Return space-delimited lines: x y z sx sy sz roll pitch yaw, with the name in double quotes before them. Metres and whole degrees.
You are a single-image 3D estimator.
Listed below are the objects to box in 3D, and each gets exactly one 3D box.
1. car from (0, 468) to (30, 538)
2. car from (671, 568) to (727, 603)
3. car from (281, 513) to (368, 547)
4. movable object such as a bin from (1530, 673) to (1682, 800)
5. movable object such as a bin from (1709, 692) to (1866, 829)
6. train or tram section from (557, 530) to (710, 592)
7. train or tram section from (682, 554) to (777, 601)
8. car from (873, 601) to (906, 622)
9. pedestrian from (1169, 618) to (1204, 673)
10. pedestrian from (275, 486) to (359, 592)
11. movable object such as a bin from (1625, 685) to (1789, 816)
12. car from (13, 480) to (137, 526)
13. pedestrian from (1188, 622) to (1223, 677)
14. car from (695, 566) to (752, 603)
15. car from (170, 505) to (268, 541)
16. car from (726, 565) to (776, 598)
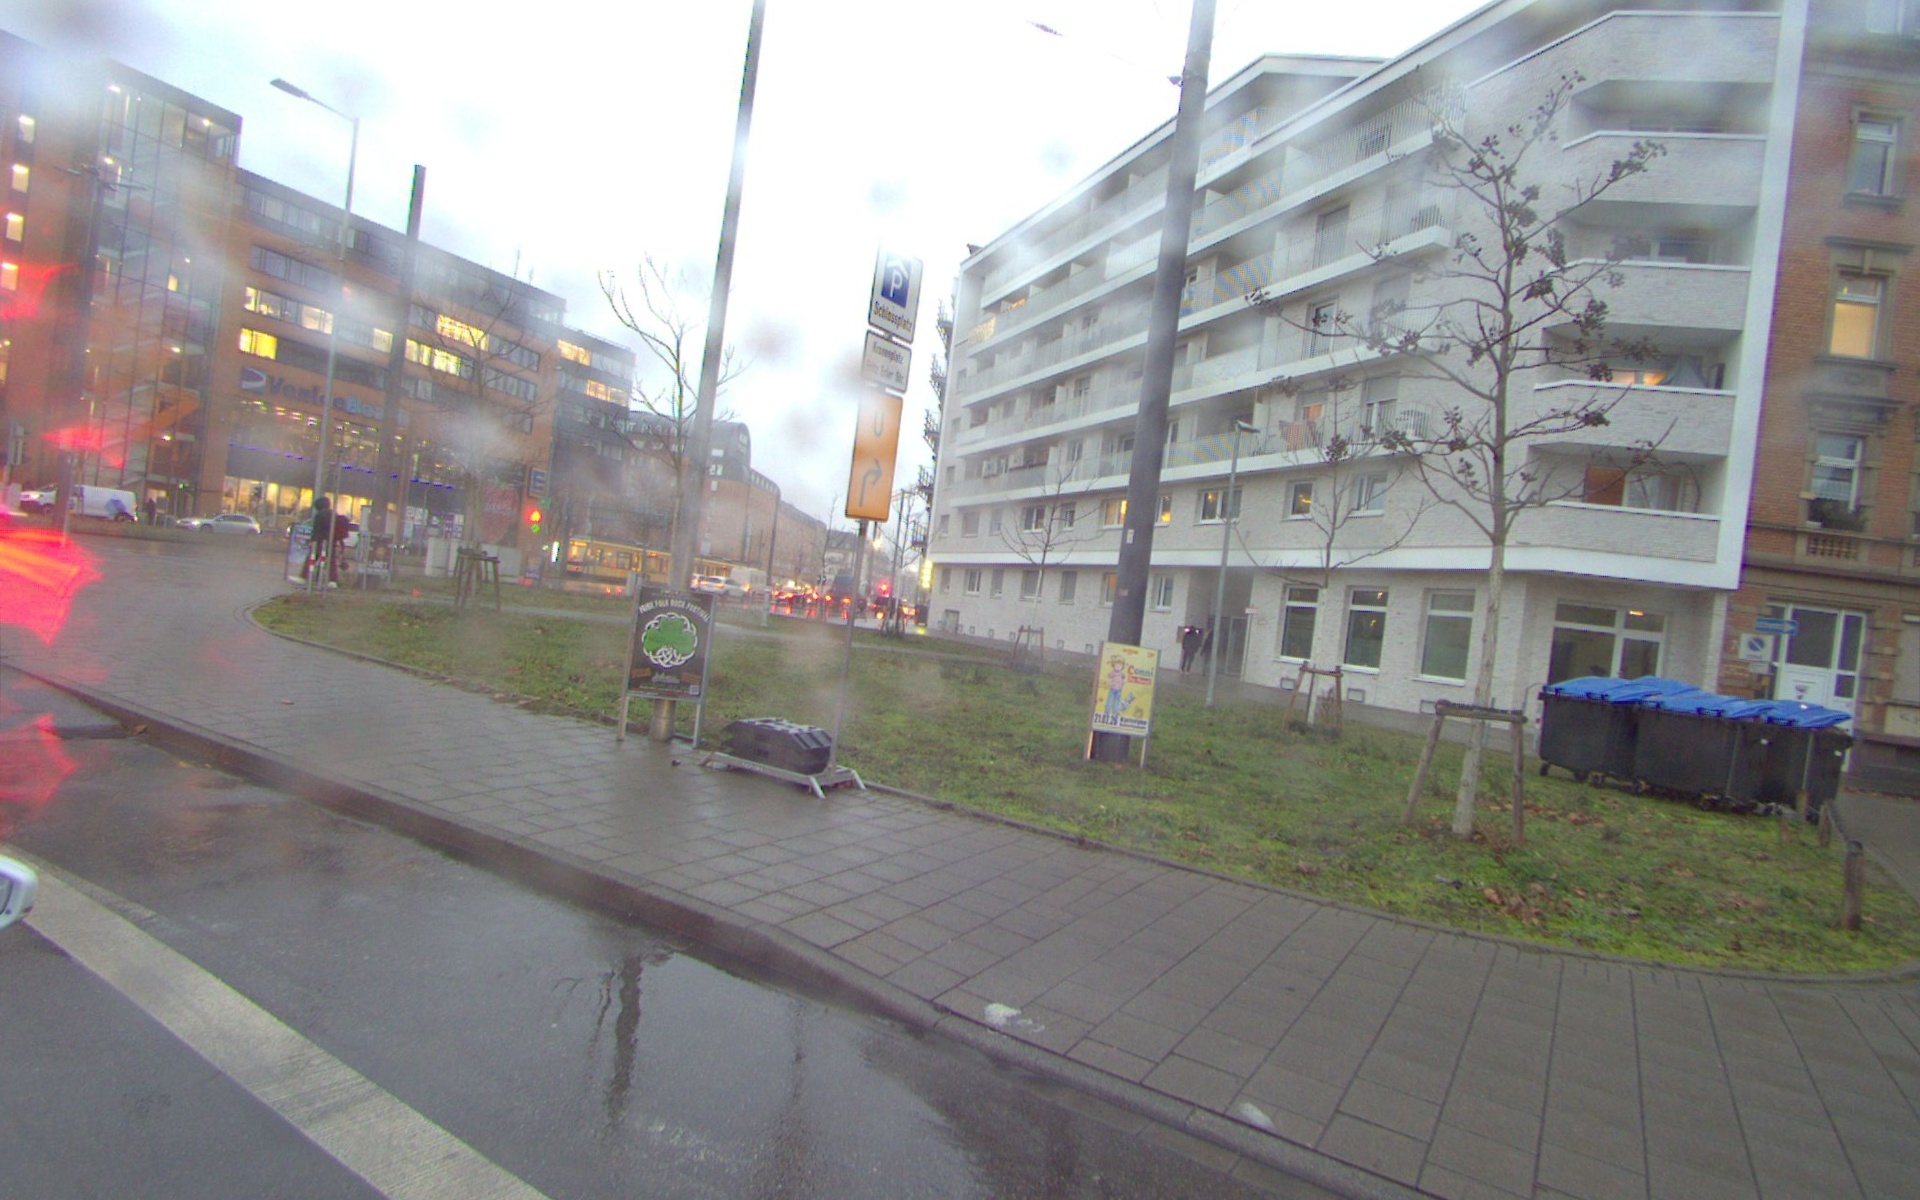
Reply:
"car" -28.379 -2.927 27.327 1.963 1.898 3.998 8 1 21
"car" -19.827 -1.094 76.587 1.963 2.036 4.003 8 -2 22
"car" -41.269 -4.524 65.443 1.767 1.553 4.444 7 -1 25
"movable object such as a bin" 9.066 1.893 14.167 1.017 1.513 1.322 7 0 -21
"movable object such as a bin" 10.722 2.060 13.074 1.021 1.507 1.039 9 -2 -12
"train or tram section" -25.408 -2.847 80.081 2.293 3.300 16.666 7 -1 17
"train or tram section" -21.263 -1.984 94.072 2.293 3.300 13.005 7 -1 17
"car" -7.131 1.170 102.001 1.962 1.600 4.094 8 -2 16
"pedestrian" 7.630 1.539 33.890 0.670 1.733 0.601 9 -1 -29
"pedestrian" -13.164 -1.232 20.592 1.164 1.946 0.890 10 -2 -35
"movable object such as a bin" 9.582 1.917 12.949 1.003 1.434 1.218 6 1 -21
"car" -46.221 -5.051 52.647 1.767 1.614 4.431 7 -1 25
"pedestrian" 8.333 1.669 34.161 0.670 1.733 0.625 9 -1 -29
"car" -17.272 -1.077 73.660 1.962 2.036 4.376 8 -2 16
"car" -43.654 -4.517 59.351 1.767 1.406 4.227 7 -1 25
"car" -17.430 -1.484 84.165 1.962 2.036 4.957 8 -2 13
